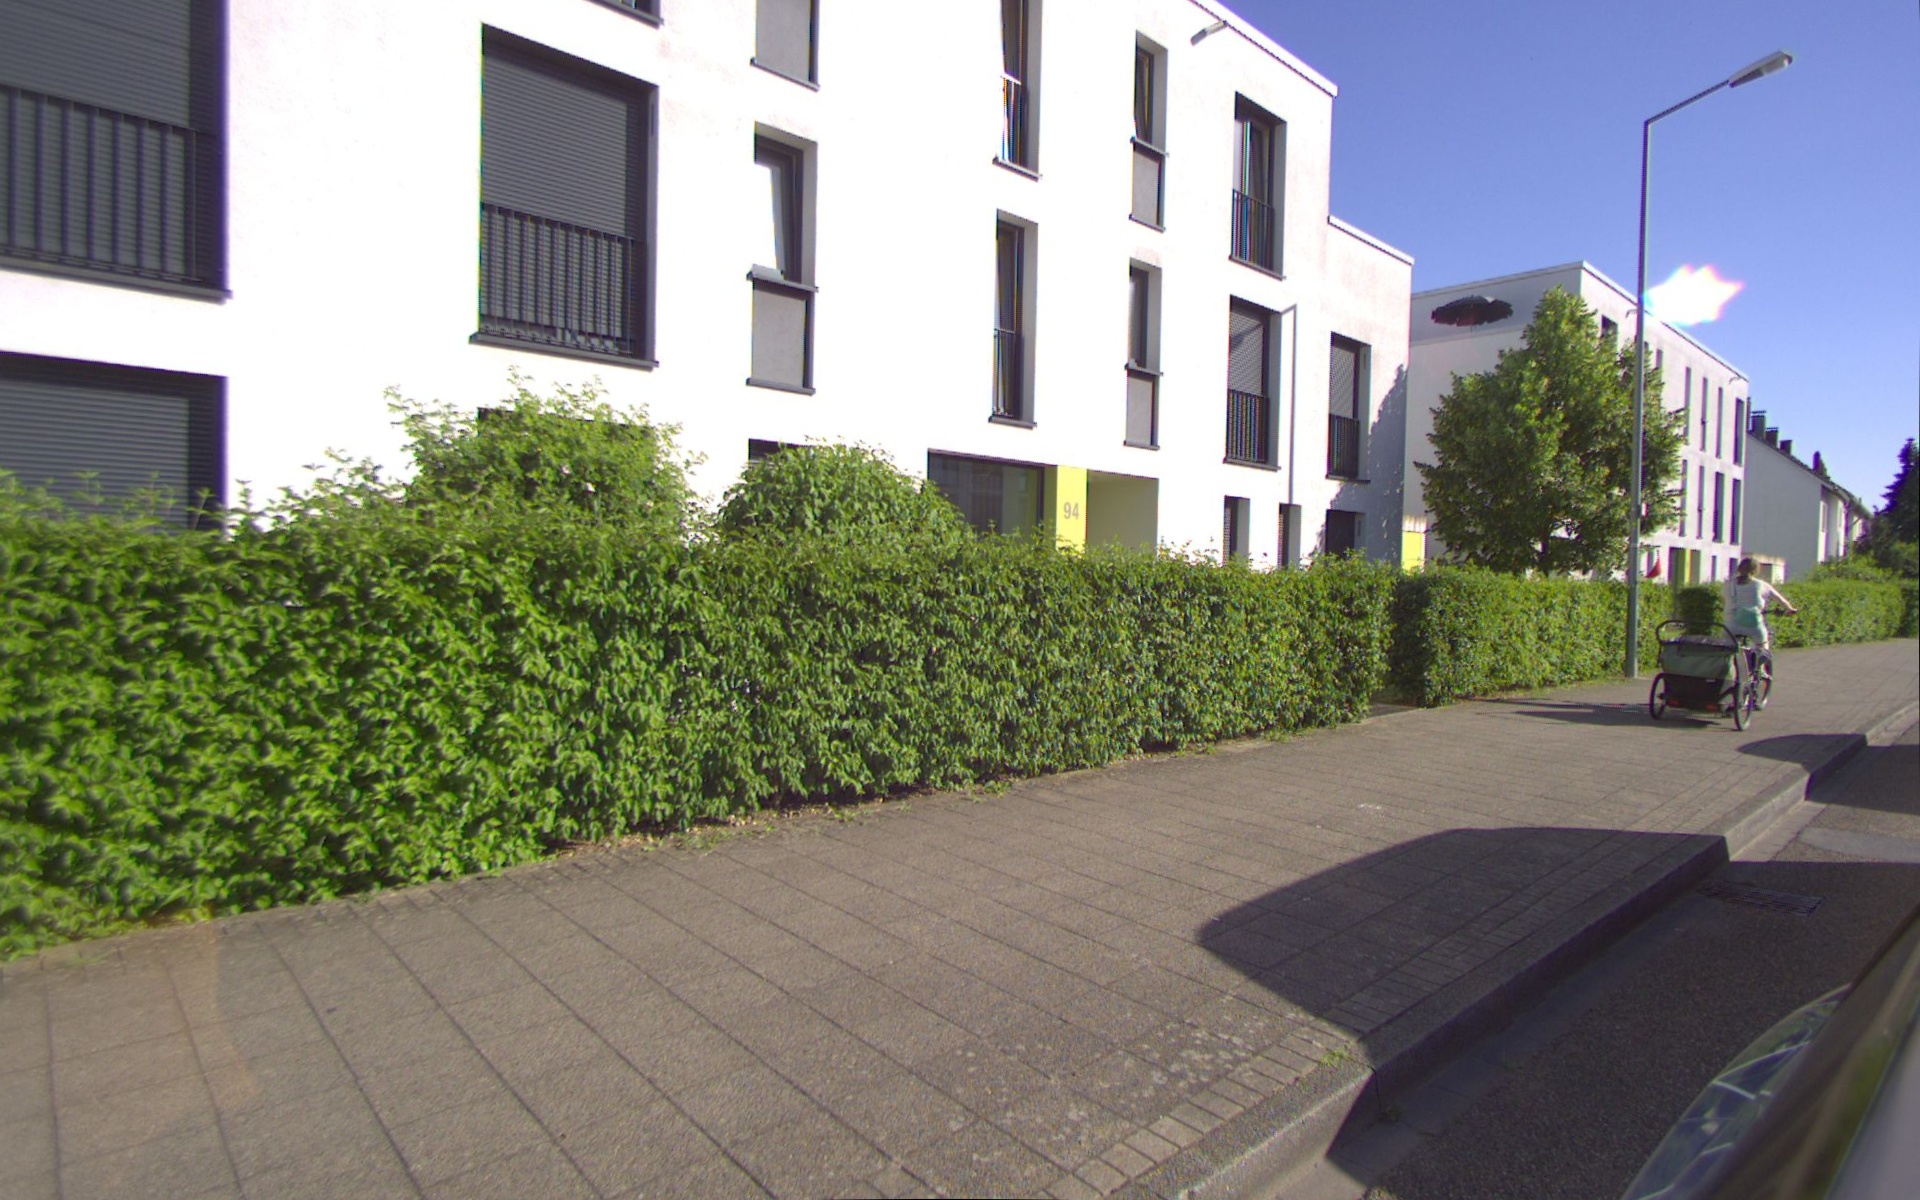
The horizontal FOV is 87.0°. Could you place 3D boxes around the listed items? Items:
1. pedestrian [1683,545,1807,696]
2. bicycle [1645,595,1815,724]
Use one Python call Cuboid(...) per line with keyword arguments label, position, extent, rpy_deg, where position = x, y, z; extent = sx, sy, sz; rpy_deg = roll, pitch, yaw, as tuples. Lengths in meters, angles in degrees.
Cuboid(label="pedestrian", position=(8.873, 0.194, 11.443), extent=(0.840, 1.613, 0.912), rpy_deg=(0, 2, -41))
Cuboid(label="bicycle", position=(8.536, 0.567, 11.147), extent=(3.072, 1.187, 0.930), rpy_deg=(-1, 3, -43))
